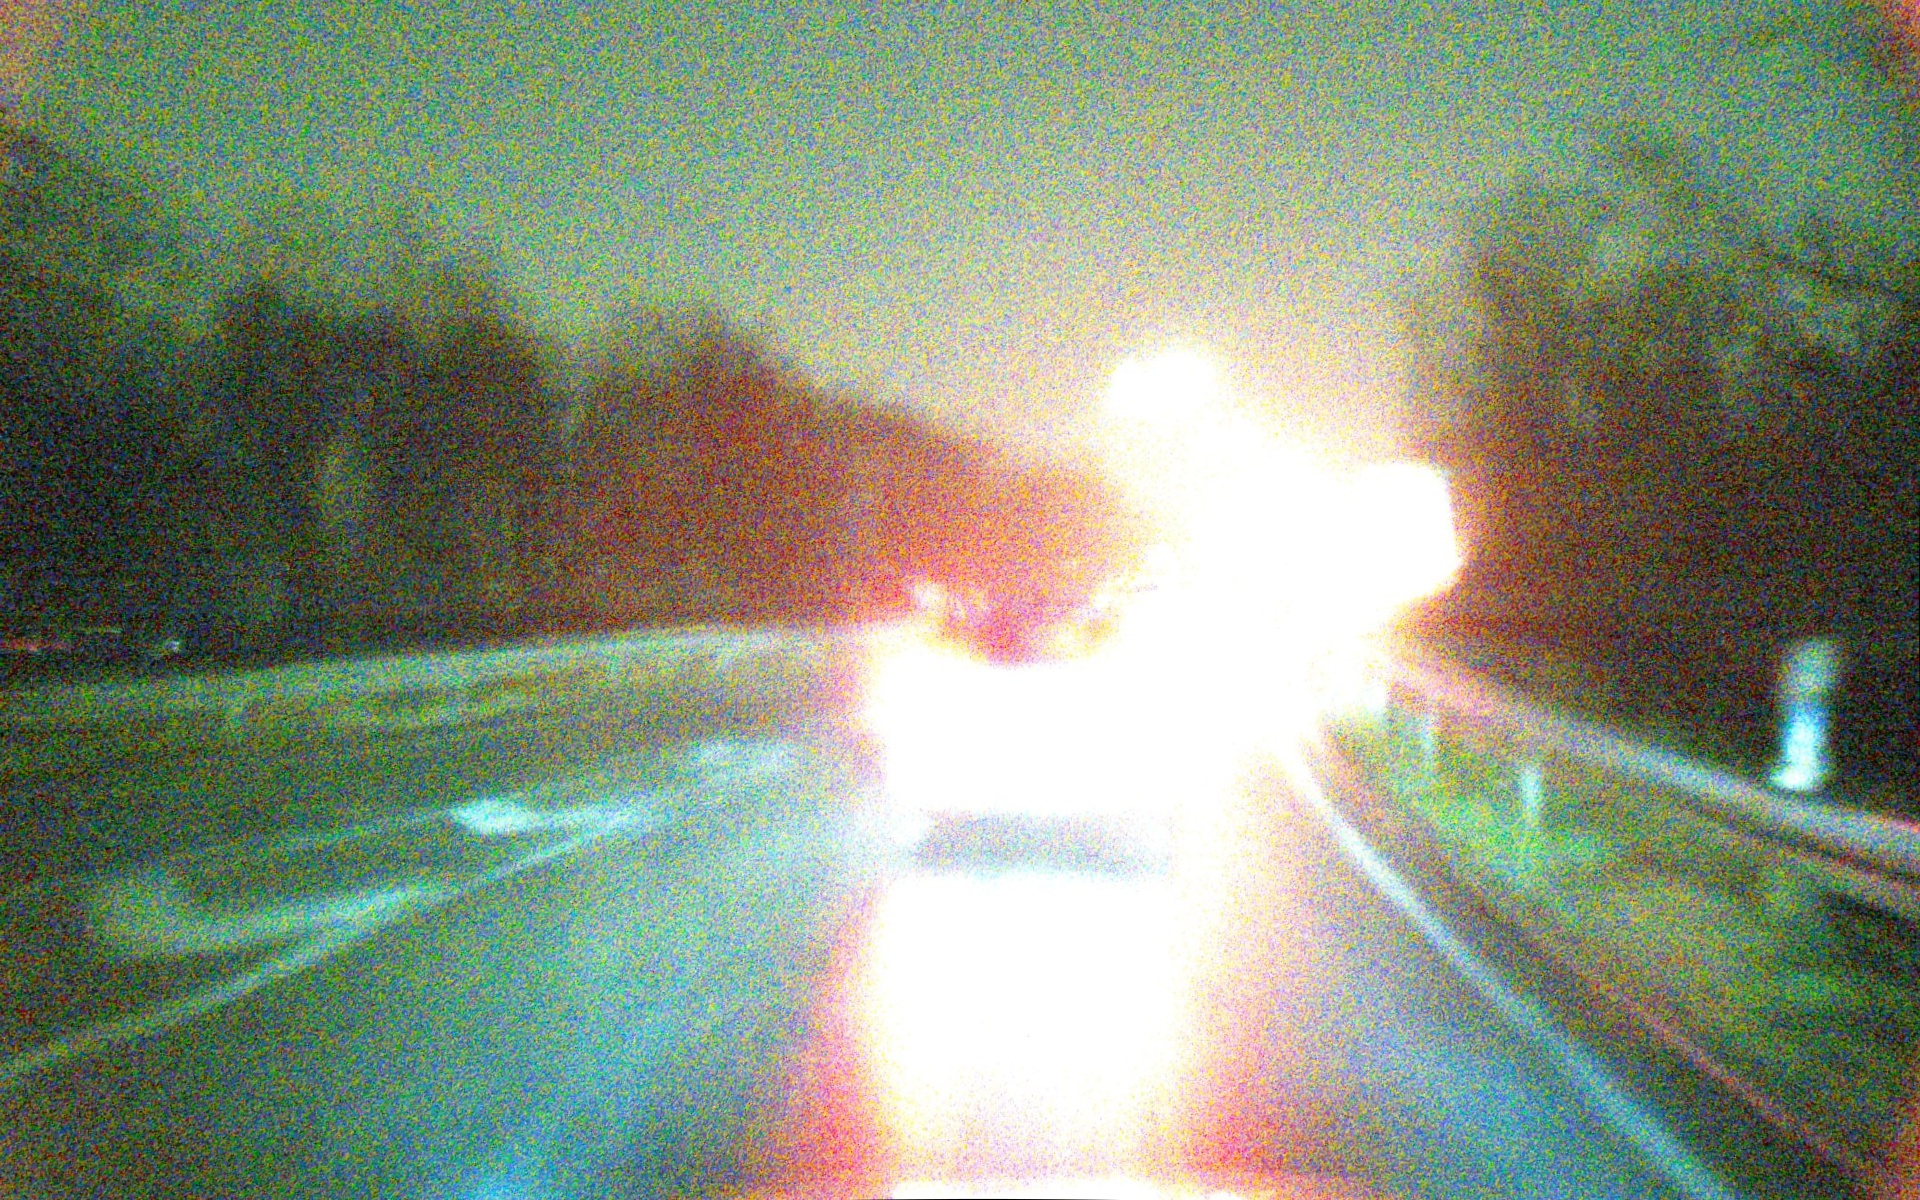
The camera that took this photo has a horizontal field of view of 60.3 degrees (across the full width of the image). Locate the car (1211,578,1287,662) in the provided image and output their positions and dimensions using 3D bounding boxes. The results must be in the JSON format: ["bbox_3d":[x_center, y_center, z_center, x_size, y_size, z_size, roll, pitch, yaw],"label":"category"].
[{"bbox_3d":[7.213,0.482,41.534,1.797,1.982,4.003,0,0,9],"label":"car"}]

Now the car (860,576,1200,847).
[{"bbox_3d":[0.599,0.631,11.210,1.903,1.517,3.719,-1,0,7],"label":"car"}]

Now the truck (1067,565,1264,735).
[{"bbox_3d":[3.734,0.779,29.033,3.004,2.573,7.172,0,0,9],"label":"truck"}]

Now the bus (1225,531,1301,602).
[{"bbox_3d":[14.491,-1.604,78.630,2.685,3.178,9.208,0,1,16],"label":"bus"}]
